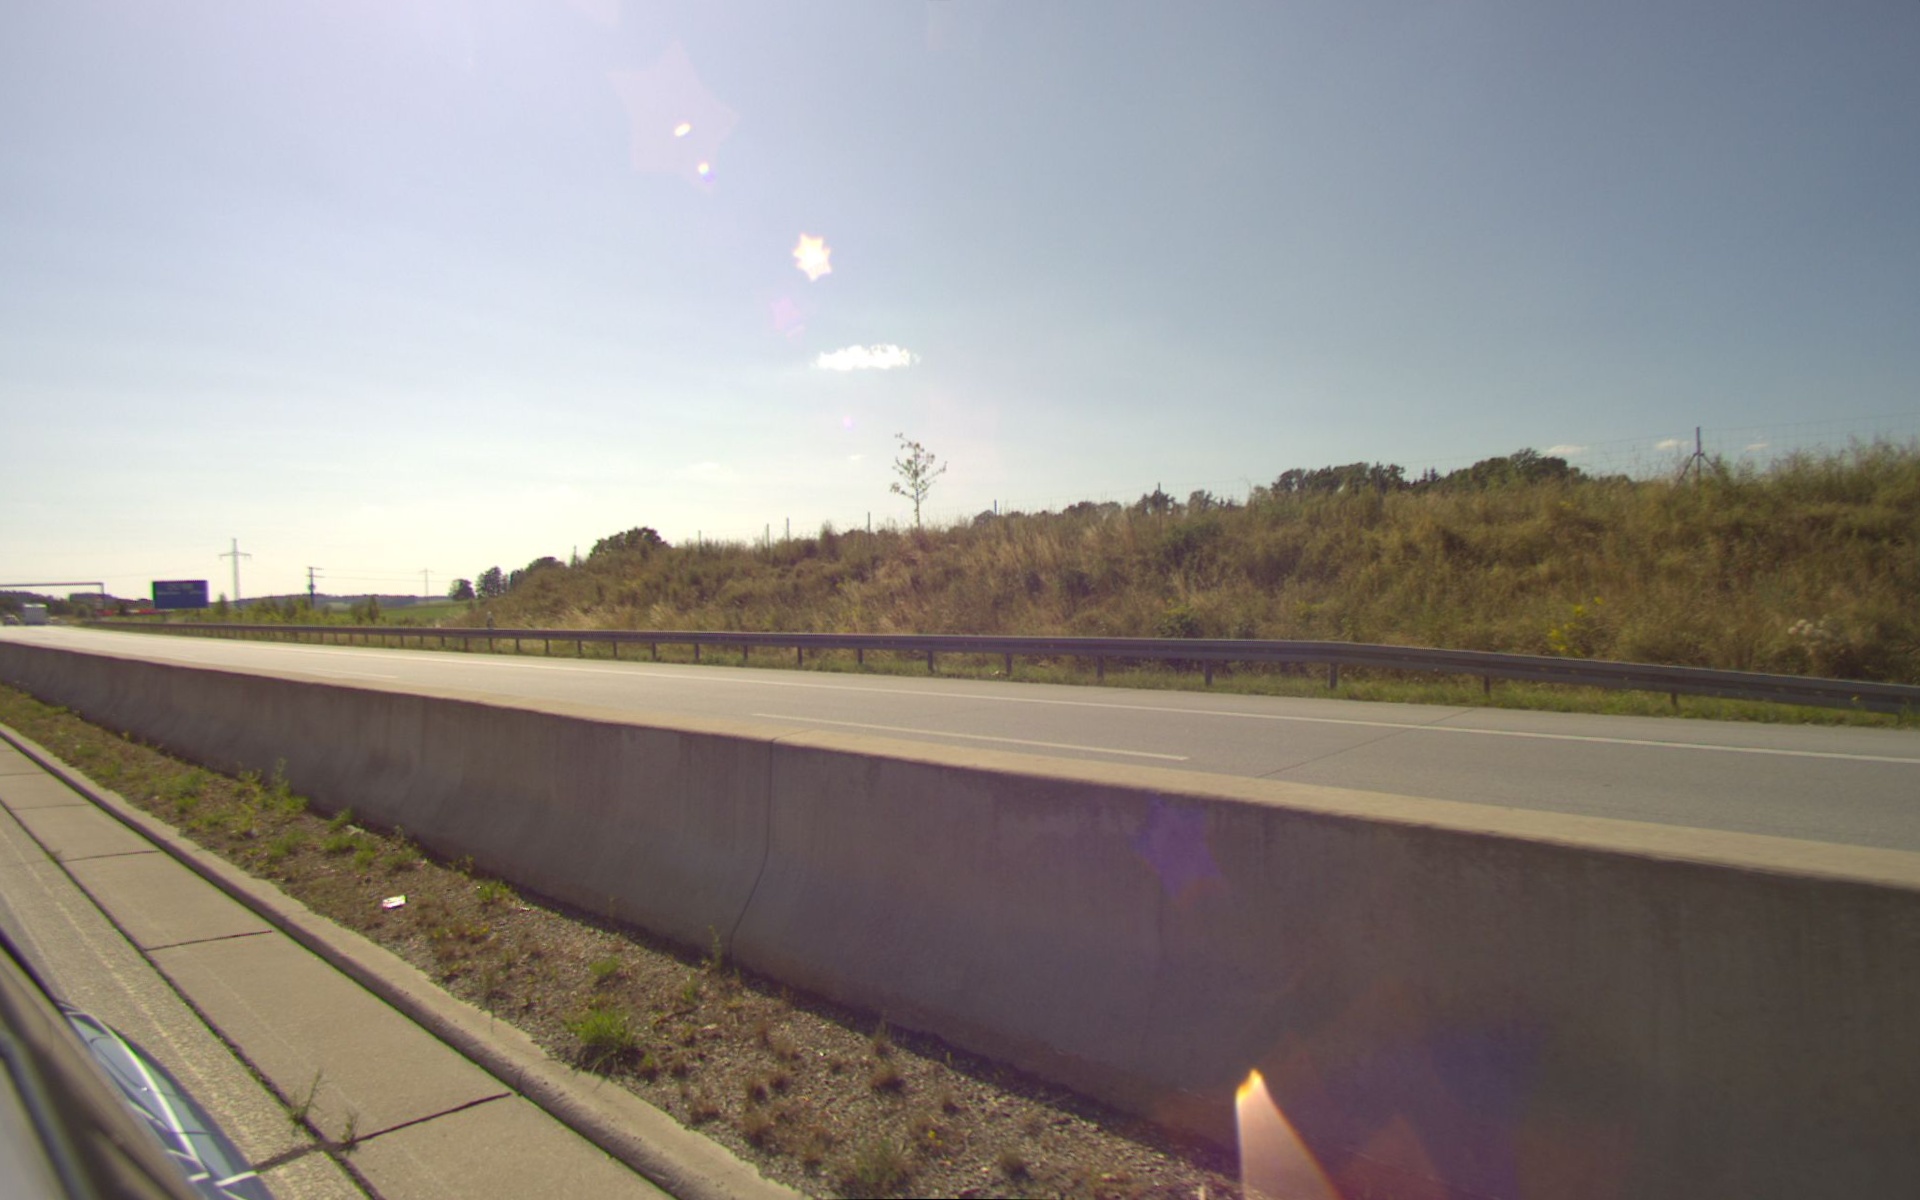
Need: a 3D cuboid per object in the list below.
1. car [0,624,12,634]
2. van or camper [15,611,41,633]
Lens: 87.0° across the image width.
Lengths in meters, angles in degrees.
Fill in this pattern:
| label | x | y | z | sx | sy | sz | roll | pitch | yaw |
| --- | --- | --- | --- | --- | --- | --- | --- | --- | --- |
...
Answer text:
| label | x | y | z | sx | sy | sz | roll | pitch | yaw |
| --- | --- | --- | --- | --- | --- | --- | --- | --- | --- |
| car | -158.403 | 4.832 | 167.474 | 4.347 | 1.722 | 1.964 | -2 | -2 | 44 |
| van or camper | -132.016 | 3.146 | 143.337 | 2.560 | 3.104 | 7.443 | 2 | -2 | -44 |
